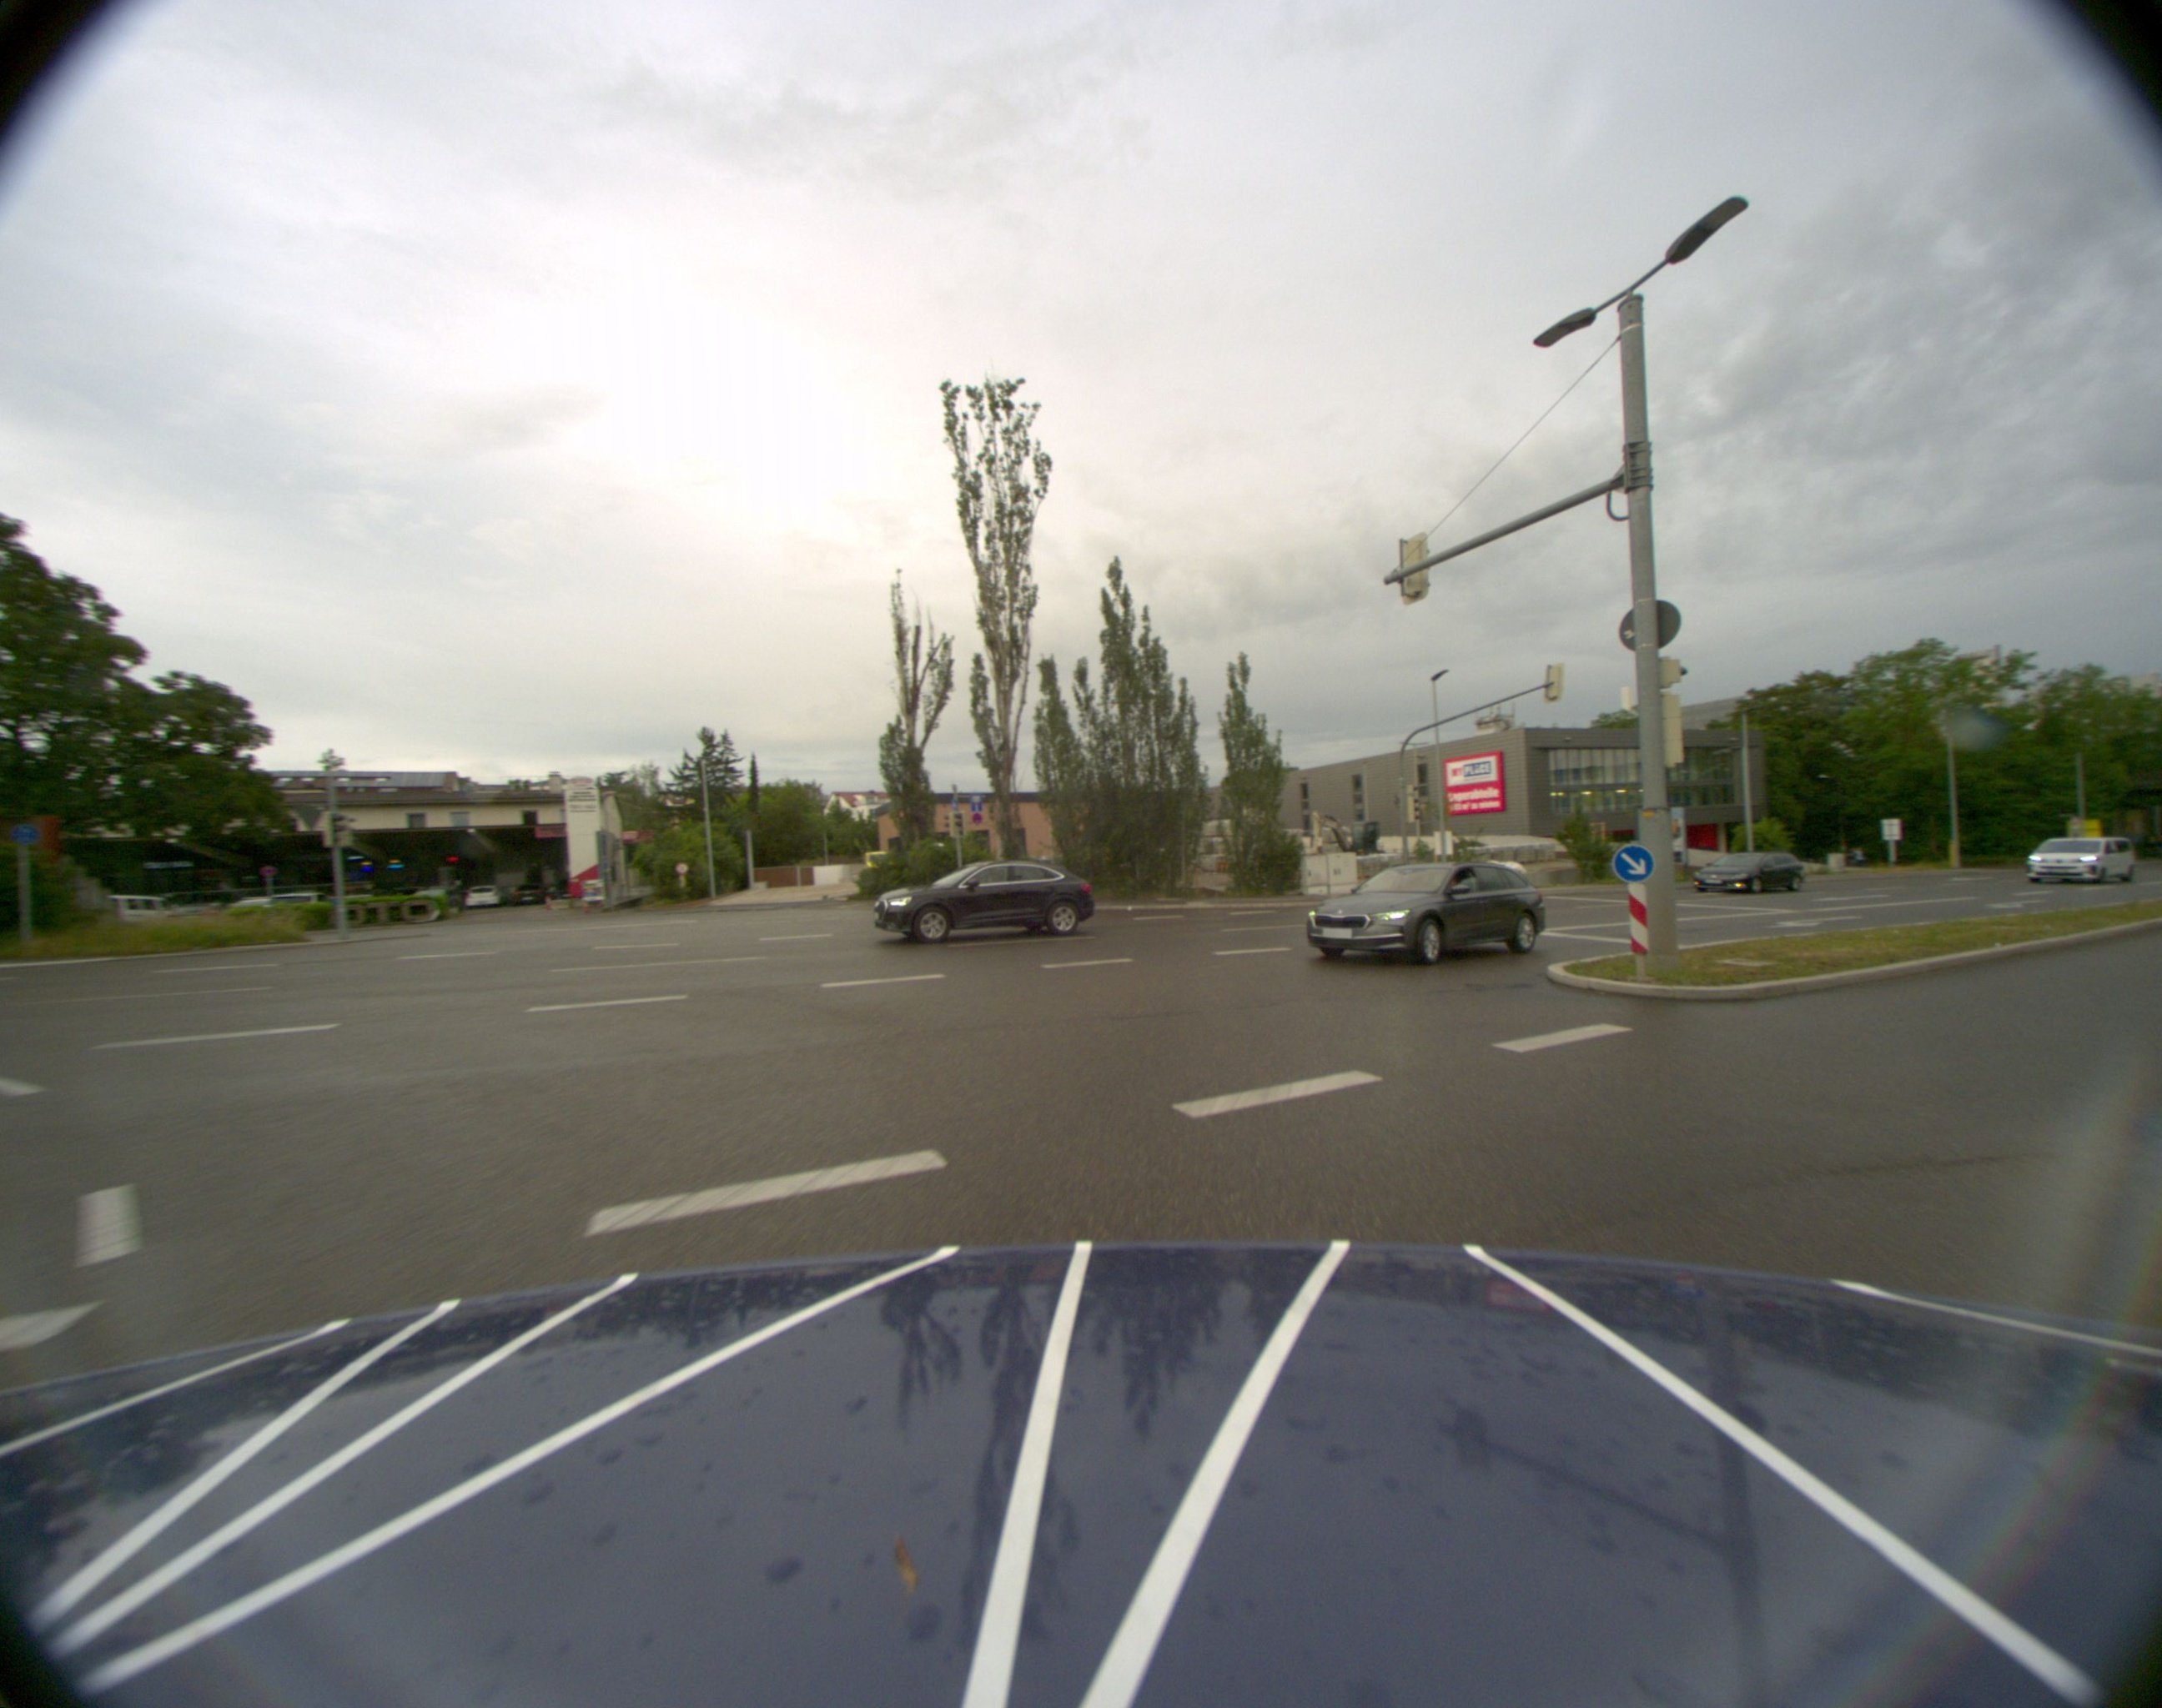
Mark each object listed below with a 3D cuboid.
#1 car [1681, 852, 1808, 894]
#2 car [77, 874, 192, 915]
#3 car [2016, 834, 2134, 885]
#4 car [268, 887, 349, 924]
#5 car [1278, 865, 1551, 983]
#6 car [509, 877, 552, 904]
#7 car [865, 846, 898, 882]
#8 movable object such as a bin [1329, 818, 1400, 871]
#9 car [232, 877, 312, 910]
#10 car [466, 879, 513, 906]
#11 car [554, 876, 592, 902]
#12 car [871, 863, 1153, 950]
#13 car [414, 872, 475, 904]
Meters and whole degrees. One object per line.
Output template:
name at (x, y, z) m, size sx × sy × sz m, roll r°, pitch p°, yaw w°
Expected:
car at (24.488, 0.661, 28.024) m, size 4.488 × 1.396 × 1.837 m, roll -1°, pitch 0°, yaw -25°
car at (-42.399, 1.777, 34.175) m, size 1.749 × 1.641 × 3.992 m, roll -1°, pitch -1°, yaw -27°
car at (42.270, 0.202, 32.300) m, size 5.200 × 2.022 × 1.837 m, roll -1°, pitch 0°, yaw -23°
car at (-39.838, 2.612, 39.293) m, size 1.749 × 1.641 × 3.992 m, roll -1°, pitch -1°, yaw -27°
car at (5.249, 0.947, 11.811) m, size 4.209 × 1.448 × 1.836 m, roll -1°, pitch 0°, yaw -32°
car at (-37.646, 2.453, 52.022) m, size 1.749 × 1.641 × 3.992 m, roll -1°, pitch -1°, yaw -27°
car at (-13.417, 0.663, 50.949) m, size 1.748 × 2.301 × 5.214 m, roll -1°, pitch 0°, yaw -18°
movable object such as a bin at (14.467, -0.459, 38.795) m, size 3.004 × 2.611 × 1.924 m, roll -1°, pitch 0°, yaw -30°
car at (-43.964, 2.097, 41.398) m, size 1.749 × 1.641 × 3.992 m, roll -1°, pitch -1°, yaw -27°
car at (-39.766, 2.570, 51.202) m, size 1.749 × 1.641 × 3.992 m, roll -1°, pitch -1°, yaw -27°
car at (-35.379, 2.406, 53.008) m, size 1.749 × 1.641 × 3.992 m, roll -1°, pitch -1°, yaw -27°
car at (-1.372, 0.991, 15.857) m, size 5.542 × 1.491 × 1.837 m, roll -1°, pitch 0°, yaw -25°
car at (-35.577, 1.839, 42.602) m, size 1.749 × 1.641 × 3.992 m, roll -1°, pitch -1°, yaw -27°
